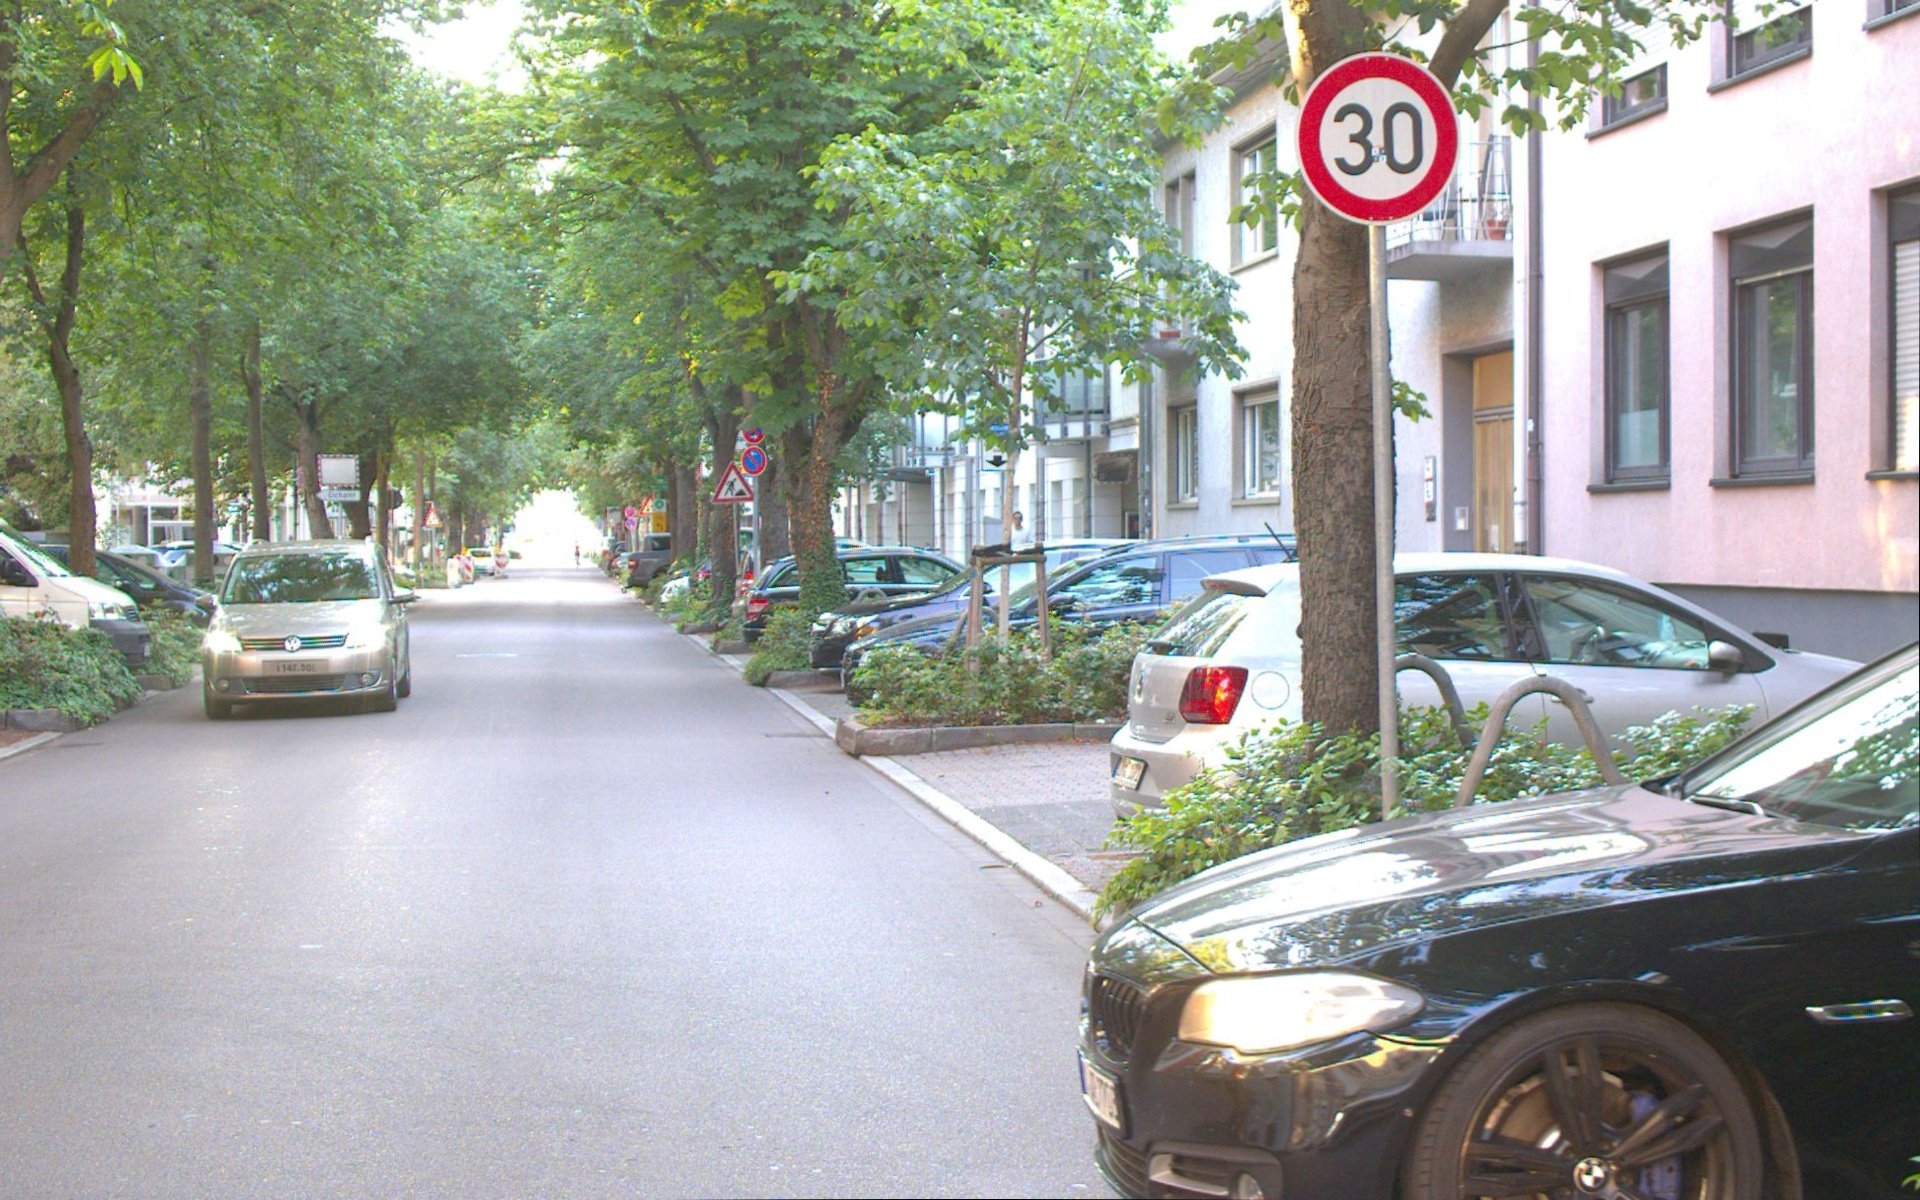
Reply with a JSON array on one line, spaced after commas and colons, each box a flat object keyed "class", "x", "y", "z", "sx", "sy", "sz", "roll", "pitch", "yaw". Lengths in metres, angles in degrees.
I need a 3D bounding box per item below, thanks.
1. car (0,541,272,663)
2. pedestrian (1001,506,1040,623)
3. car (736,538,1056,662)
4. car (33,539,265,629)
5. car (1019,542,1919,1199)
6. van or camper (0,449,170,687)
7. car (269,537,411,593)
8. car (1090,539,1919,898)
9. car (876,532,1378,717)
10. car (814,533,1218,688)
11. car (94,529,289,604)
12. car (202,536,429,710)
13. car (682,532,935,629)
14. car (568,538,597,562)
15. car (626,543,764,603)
[{"class": "car", "x": -11.632, "y": 0.014, "z": 47.543, "sx": 3.967, "sy": 1.614, "sz": 1.785, "roll": -1, "pitch": 1, "yaw": -5}, {"class": "pedestrian", "x": 1.047, "y": -0.614, "z": 59.557, "sx": 0.589, "sy": 2.007, "sz": 0.669, "roll": -1, "pitch": 1, "yaw": -5}, {"class": "car", "x": -0.857, "y": -0.018, "z": 44.395, "sx": 3.967, "sy": 1.522, "sz": 1.785, "roll": -1, "pitch": 1, "yaw": -7}, {"class": "car", "x": -15.073, "y": -0.311, "z": 64.029, "sx": 3.967, "sy": 1.614, "sz": 1.785, "roll": -1, "pitch": 1, "yaw": -5}, {"class": "car", "x": 2.595, "y": 0.613, "z": 7.377, "sx": 4.744, "sy": 1.475, "sz": 1.800, "roll": 0, "pitch": 1, "yaw": -6}, {"class": "van or camper", "x": -10.901, "y": -0.341, "z": 36.540, "sx": 4.662, "sy": 2.470, "sz": 2.000, "roll": 0, "pitch": 1, "yaw": -6}, {"class": "car", "x": -18.294, "y": -1.035, "z": 101.572, "sx": 3.967, "sy": 1.614, "sz": 1.785, "roll": -1, "pitch": 1, "yaw": -5}, {"class": "car", "x": 2.661, "y": 0.479, "z": 15.488, "sx": 3.908, "sy": 1.471, "sz": 1.665, "roll": -1, "pitch": 1, "yaw": -8}, {"class": "car", "x": 1.372, "y": 0.178, "z": 29.091, "sx": 3.967, "sy": 1.471, "sz": 1.785, "roll": -1, "pitch": 1, "yaw": -8}, {"class": "car", "x": 0.542, "y": 0.084, "z": 35.576, "sx": 3.967, "sy": 1.522, "sz": 1.785, "roll": -1, "pitch": 1, "yaw": -7}, {"class": "car", "x": -16.882, "y": -0.745, "z": 75.641, "sx": 3.967, "sy": 1.614, "sz": 1.785, "roll": -1, "pitch": 1, "yaw": -5}, {"class": "car", "x": -6.131, "y": 0.167, "z": 33.075, "sx": 1.779, "sy": 1.557, "sz": 4.169, "roll": 0, "pitch": 1, "yaw": -6}, {"class": "car", "x": -2.503, "y": -0.337, "z": 56.269, "sx": 3.967, "sy": 1.522, "sz": 1.785, "roll": -1, "pitch": 1, "yaw": -8}, {"class": "car", "x": -24.443, "y": -3.238, "z": 222.784, "sx": 1.822, "sy": 1.525, "sz": 4.001, "roll": 0, "pitch": 1, "yaw": -6}, {"class": "car", "x": -7.745, "y": -0.797, "z": 100.253, "sx": 3.967, "sy": 1.678, "sz": 1.785, "roll": -1, "pitch": 1, "yaw": -5}]
